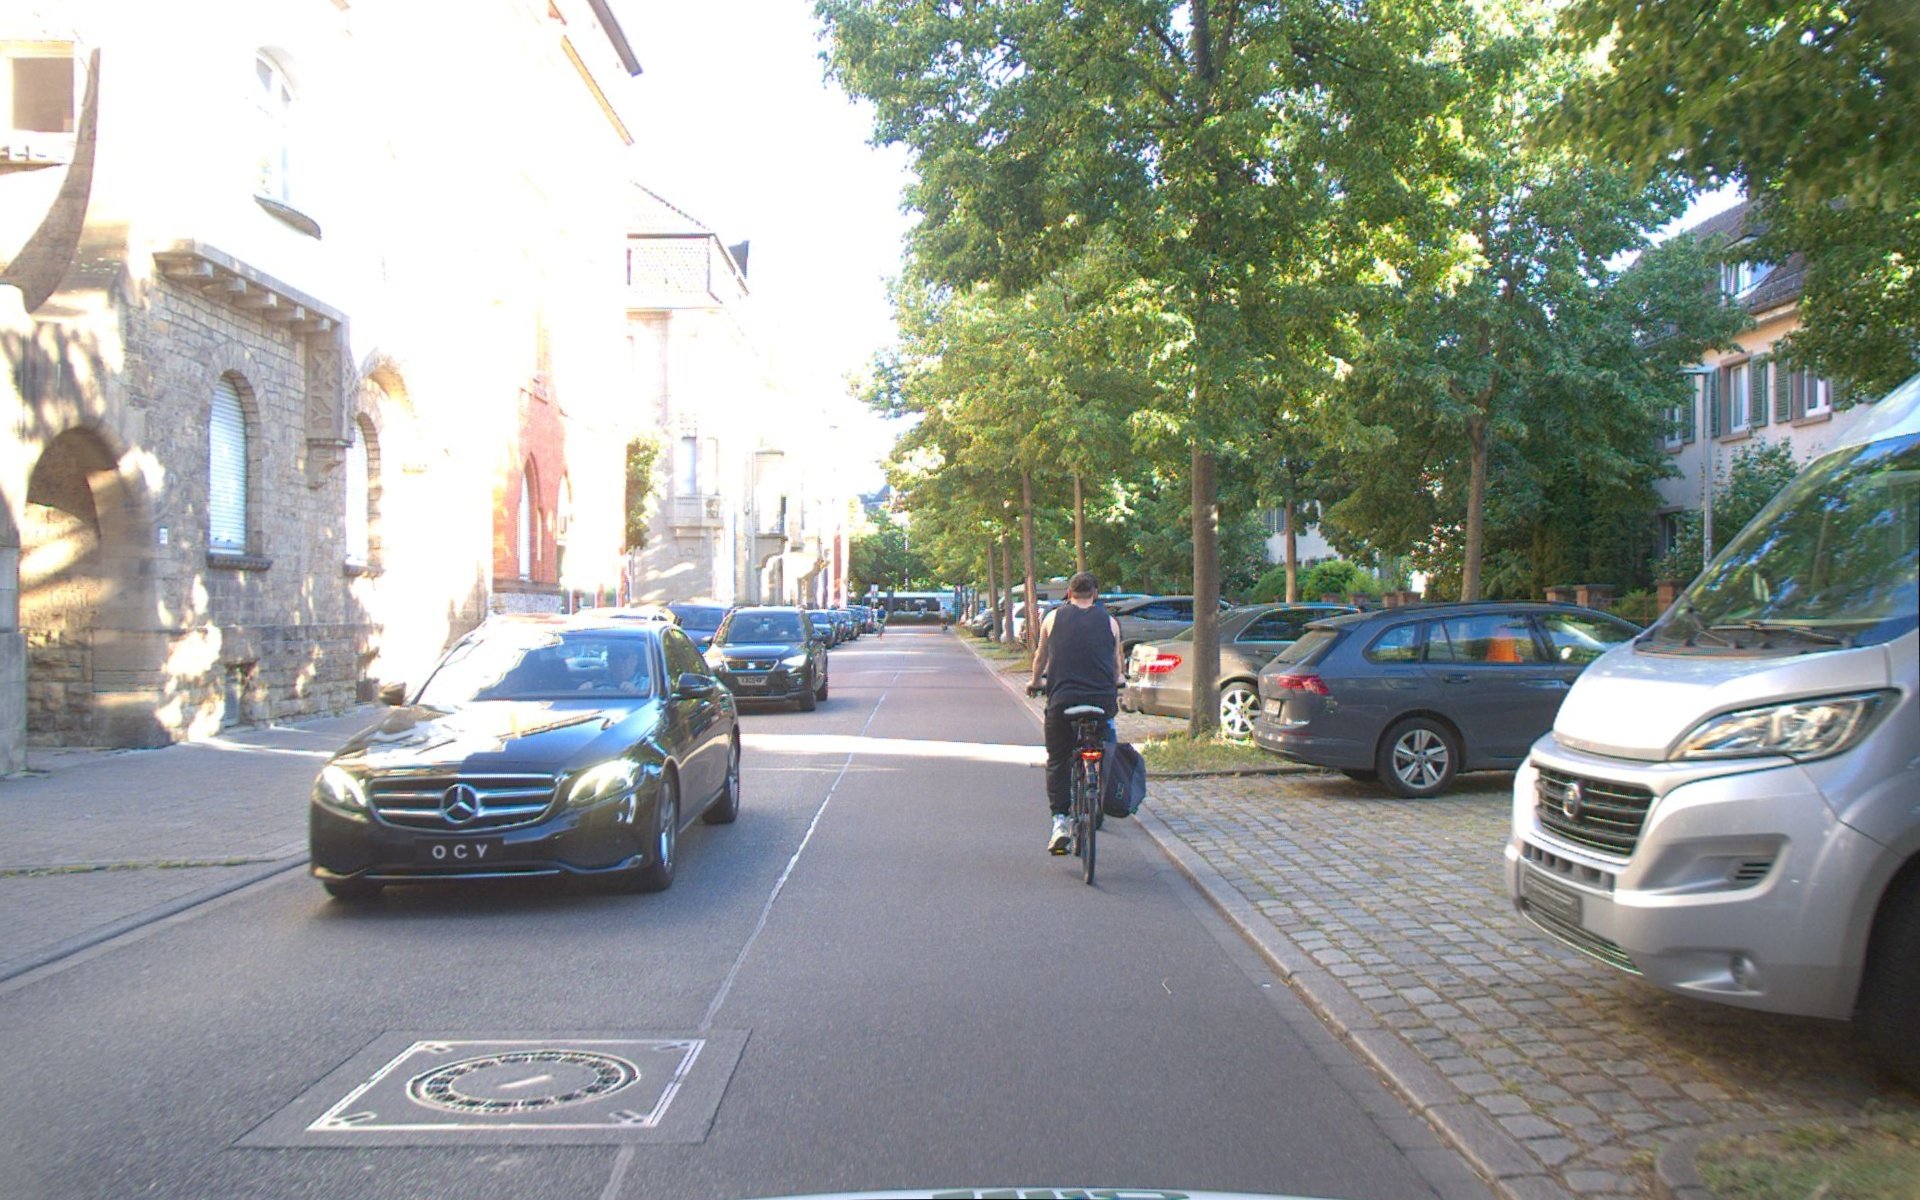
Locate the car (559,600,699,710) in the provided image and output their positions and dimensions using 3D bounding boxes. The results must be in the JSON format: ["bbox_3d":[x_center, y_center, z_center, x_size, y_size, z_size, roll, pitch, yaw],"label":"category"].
[{"bbox_3d":[-5.236,0.852,26.548,1.461,1.544,3.774,3,-1,-1],"label":"car"}]

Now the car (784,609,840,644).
[{"bbox_3d":[-5.906,1.068,66.337,1.931,1.343,3.999,0,-1,-1],"label":"car"}]

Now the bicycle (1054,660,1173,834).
[{"bbox_3d":[1.078,1.014,11.986,0.544,1.091,1.967,0,-1,-4],"label":"bicycle"}]

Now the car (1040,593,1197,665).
[{"bbox_3d":[4.393,0.816,46.246,4.156,1.828,1.854,-2,-1,0],"label":"car"}]

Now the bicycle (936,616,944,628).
[{"bbox_3d":[-1.372,1.487,112.071,0.530,0.842,1.918,0,-1,-1],"label":"bicycle"}]

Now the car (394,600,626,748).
[{"bbox_3d":[-5.409,0.854,20.426,1.719,1.544,4.113,4,-1,-1],"label":"car"}]

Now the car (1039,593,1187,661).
[{"bbox_3d":[4.474,0.802,48.834,4.156,1.828,1.854,-2,-1,0],"label":"car"}]

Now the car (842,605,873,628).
[{"bbox_3d":[-7.141,1.178,115.088,1.953,1.557,3.999,0,-1,-1],"label":"car"}]

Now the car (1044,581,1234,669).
[{"bbox_3d":[4.103,0.586,38.325,4.156,1.872,1.854,-2,-1,0],"label":"car"}]

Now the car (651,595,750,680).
[{"bbox_3d":[-5.444,0.797,35.077,1.598,1.695,3.966,0,-1,-2],"label":"car"}]

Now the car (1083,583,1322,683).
[{"bbox_3d":[4.458,0.622,30.921,4.156,1.676,1.854,-2,-1,0],"label":"car"}]

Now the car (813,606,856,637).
[{"bbox_3d":[-6.492,1.122,85.976,1.953,1.557,3.999,0,-1,-1],"label":"car"}]

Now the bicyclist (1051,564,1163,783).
[{"bbox_3d":[1.072,0.531,12.240,0.704,1.553,0.971,0,-2,-2],"label":"bicyclist"}]

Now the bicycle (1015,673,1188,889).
[{"bbox_3d":[0.785,0.997,9.736,0.682,1.092,1.966,0,-1,-5],"label":"bicycle"}]

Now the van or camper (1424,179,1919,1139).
[{"bbox_3d":[4.733,0.060,5.766,5.463,2.581,2.267,-3,-1,-3],"label":"van or camper"}]

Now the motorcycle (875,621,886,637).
[{"bbox_3d":[-4.050,1.490,84.464,0.540,0.815,1.307,-1,0,-3],"label":"motorcycle"}]

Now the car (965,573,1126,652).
[{"bbox_3d":[3.864,0.590,75.654,7.183,3.340,2.223,-2,-1,0],"label":"car"}]

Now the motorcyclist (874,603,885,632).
[{"bbox_3d":[-4.109,0.888,84.386,0.540,1.474,0.688,-1,0,-4],"label":"motorcyclist"}]

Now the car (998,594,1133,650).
[{"bbox_3d":[3.743,0.799,59.120,4.659,1.811,1.854,-2,-1,0],"label":"car"}]

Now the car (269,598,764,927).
[{"bbox_3d":[-2.386,0.828,10.117,1.858,1.512,4.380,-2,-1,-1],"label":"car"}]

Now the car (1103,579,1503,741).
[{"bbox_3d":[3.854,0.672,19.026,4.160,1.634,1.752,-2,-1,-4],"label":"car"}]

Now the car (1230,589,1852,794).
[{"bbox_3d":[4.561,0.713,13.477,4.410,1.478,1.816,-1,-1,0],"label":"car"}]

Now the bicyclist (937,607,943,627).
[{"bbox_3d":[-1.372,1.151,112.053,0.408,1.374,0.430,0,-2,-1],"label":"bicyclist"}]

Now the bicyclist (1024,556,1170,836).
[{"bbox_3d":[0.784,0.543,9.723,0.692,1.553,0.971,0,-2,-5],"label":"bicyclist"}]

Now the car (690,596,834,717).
[{"bbox_3d":[-2.957,0.829,25.434,1.731,1.627,4.088,-3,-1,-1],"label":"car"}]
